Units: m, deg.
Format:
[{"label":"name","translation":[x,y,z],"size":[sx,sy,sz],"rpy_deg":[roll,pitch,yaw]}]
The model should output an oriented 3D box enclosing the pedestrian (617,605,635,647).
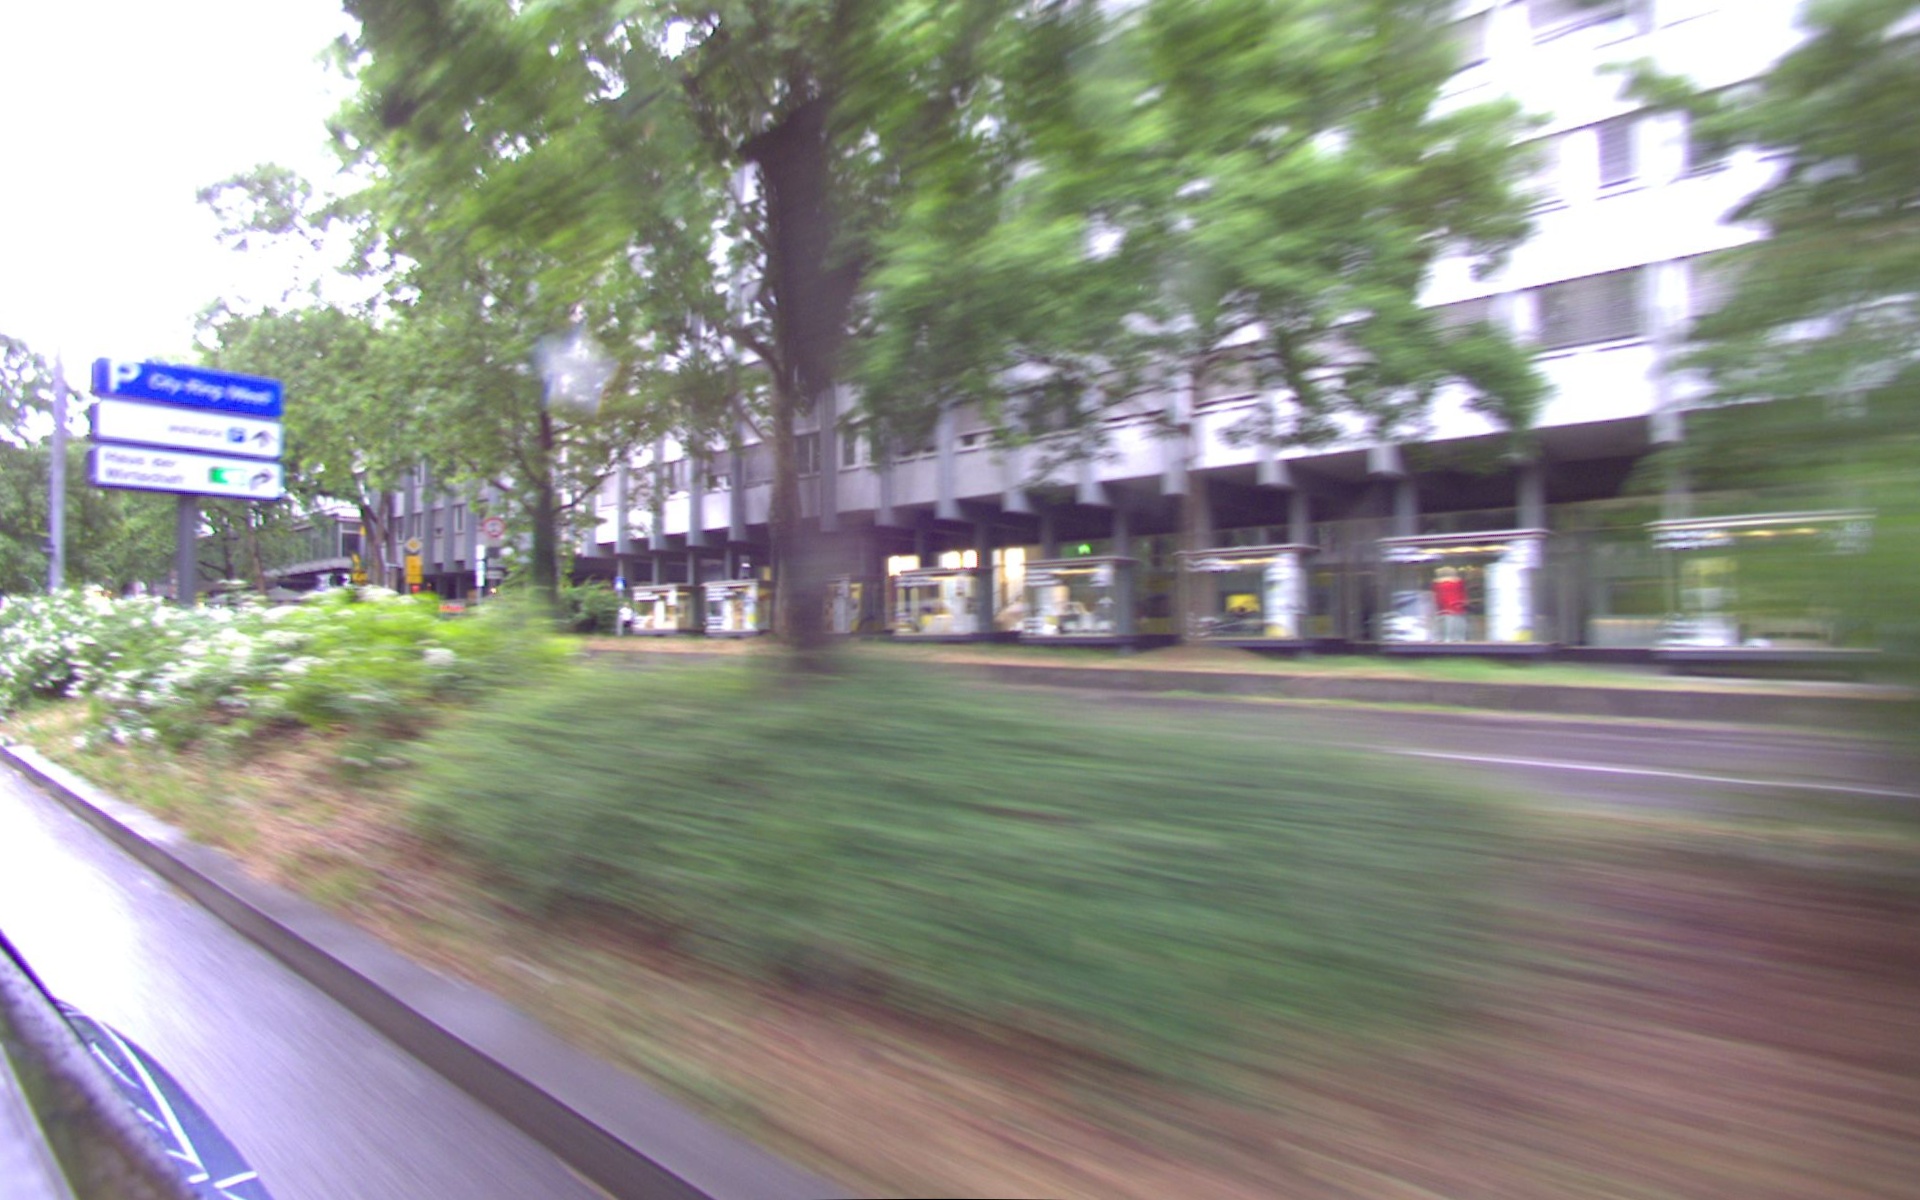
[{"label":"pedestrian","translation":[-14.557,1.126,44.116],"size":[0.522,1.821,0.542],"rpy_deg":[-1,-1,41]}]
